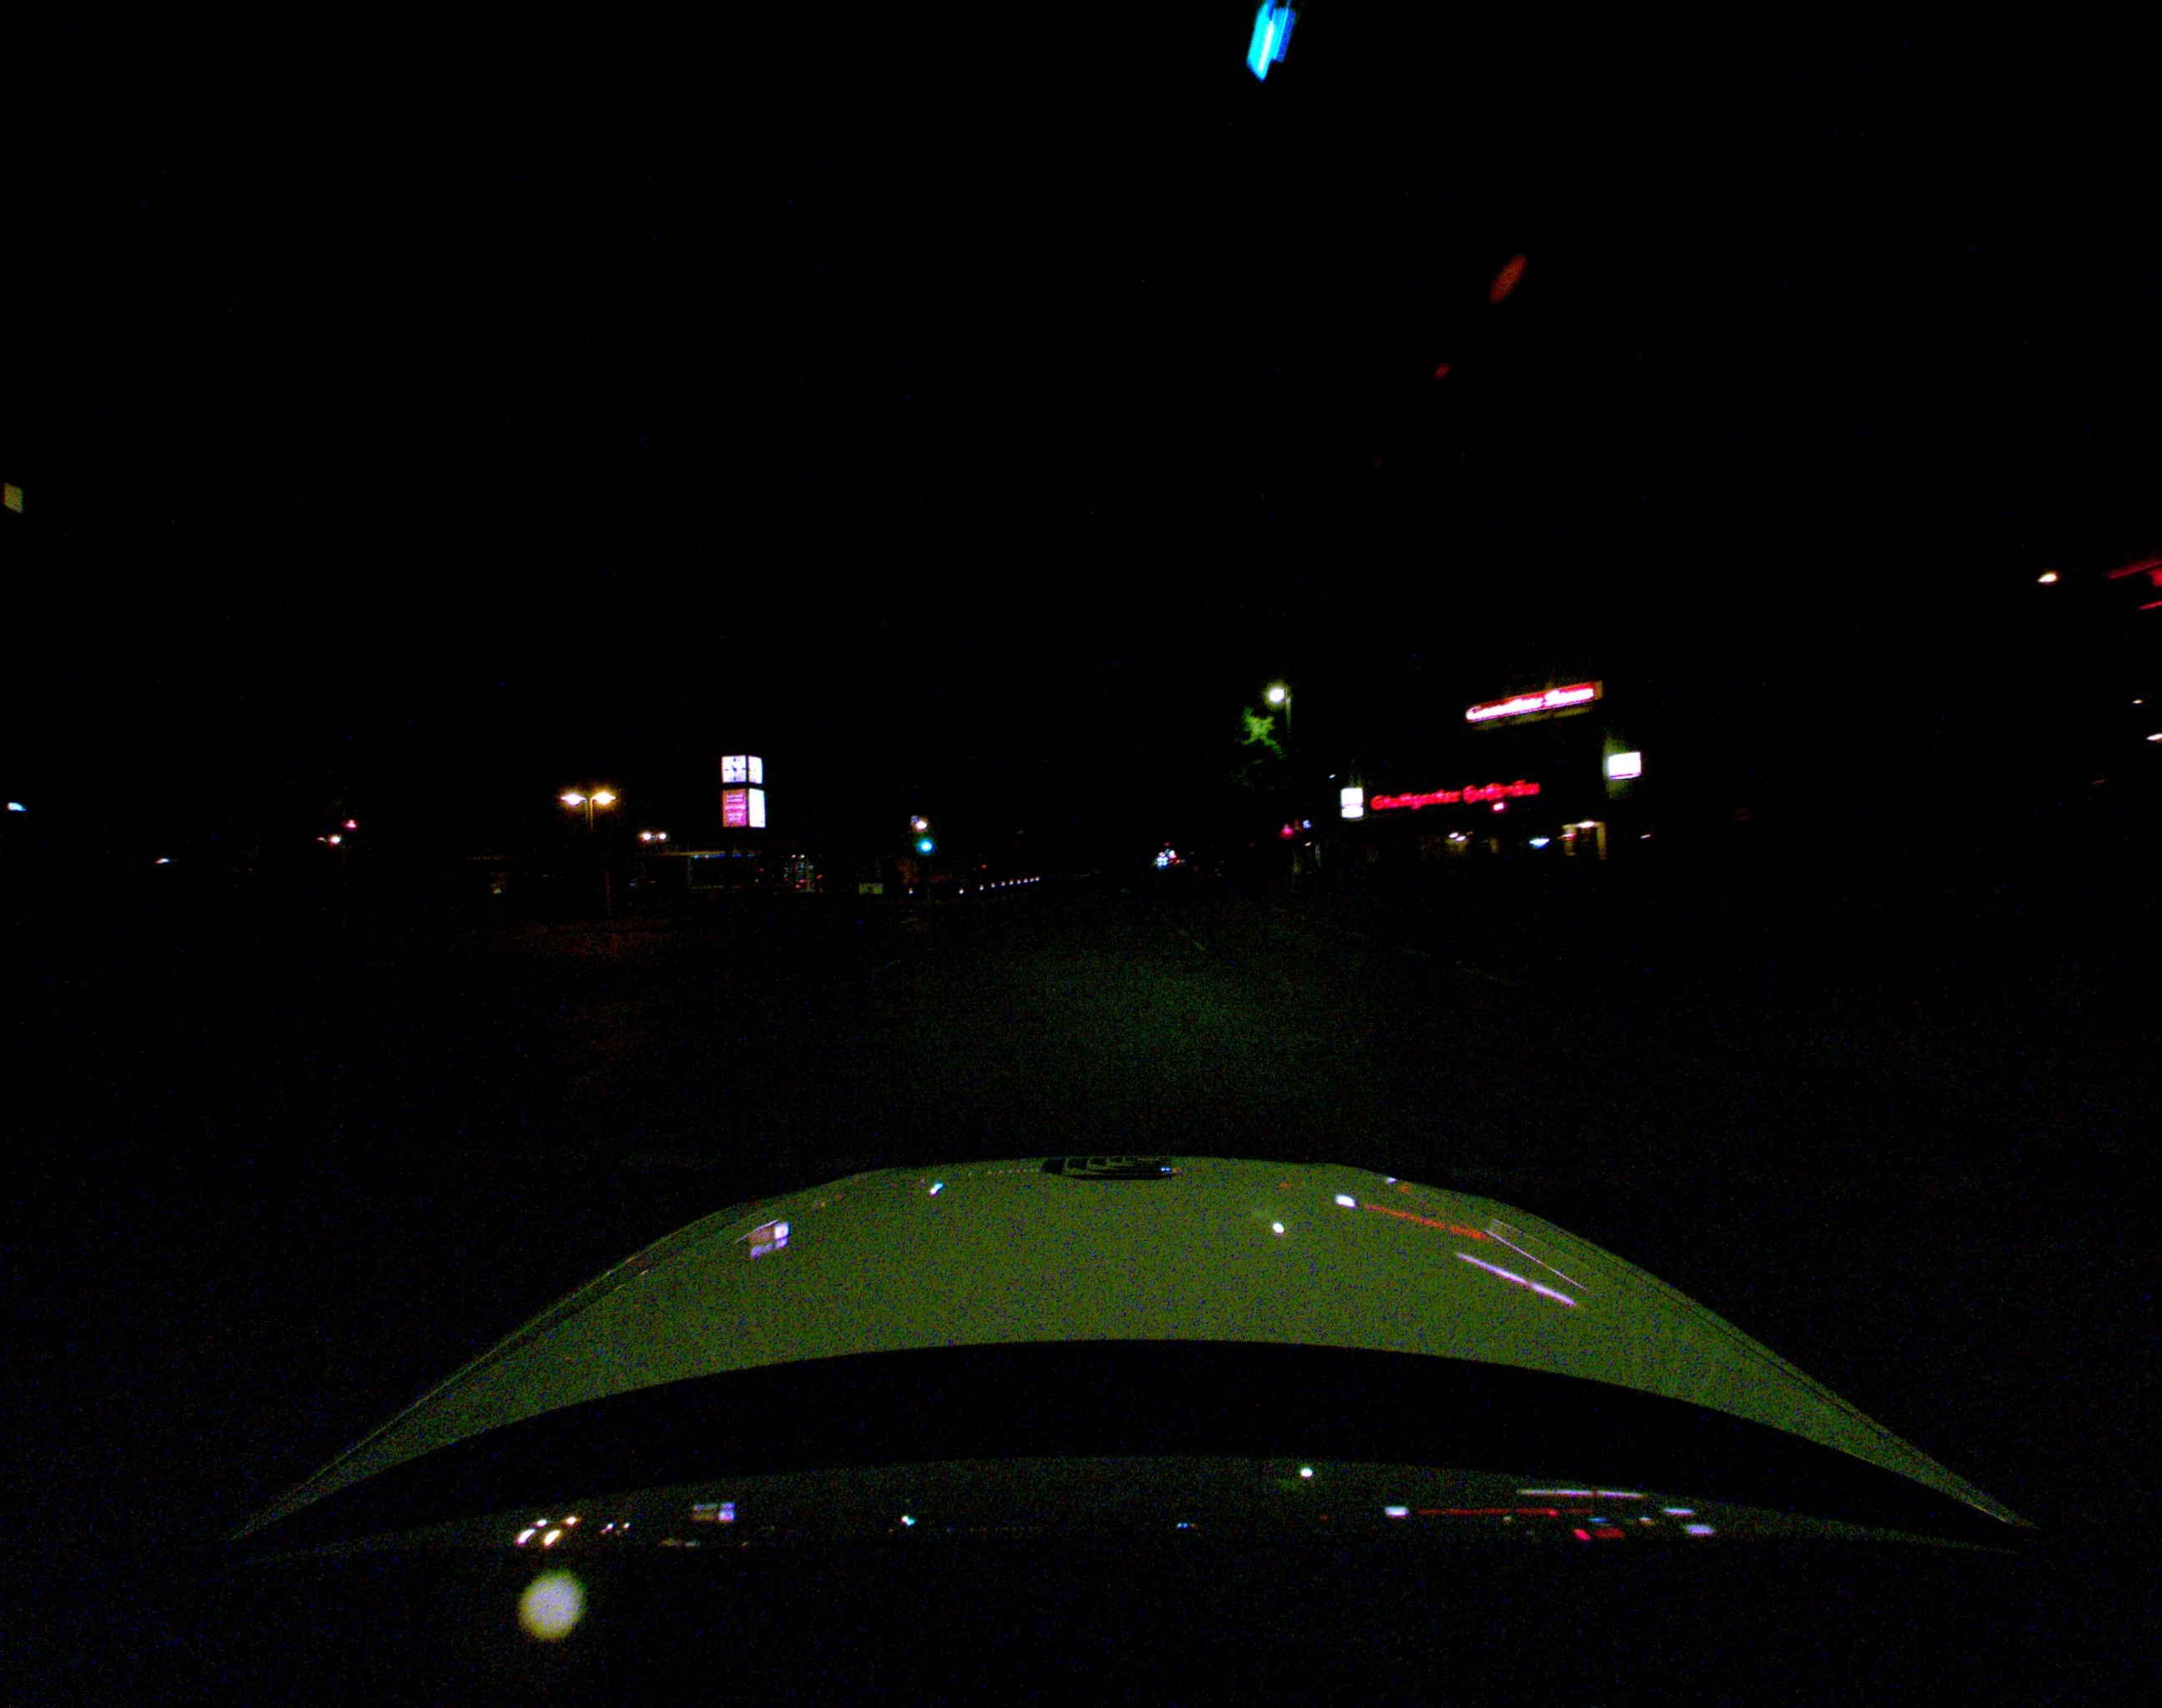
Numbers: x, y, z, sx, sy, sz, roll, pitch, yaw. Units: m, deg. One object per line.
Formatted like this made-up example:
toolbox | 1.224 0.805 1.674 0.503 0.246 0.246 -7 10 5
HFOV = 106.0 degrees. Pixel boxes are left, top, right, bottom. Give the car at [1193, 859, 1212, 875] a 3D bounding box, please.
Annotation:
car | 13.317 1.439 89.614 1.866 1.684 4.007 -2 -1 7

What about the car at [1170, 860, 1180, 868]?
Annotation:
car | 18.092 1.995 157.477 1.864 1.454 4.324 0 -1 6

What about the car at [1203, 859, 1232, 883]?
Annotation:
car | 9.883 1.203 59.043 1.866 1.615 4.007 -2 -1 7

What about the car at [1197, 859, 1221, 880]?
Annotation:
car | 11.239 1.339 71.686 1.866 1.729 4.007 -2 -1 7

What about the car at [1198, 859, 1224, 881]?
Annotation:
car | 10.204 1.242 64.056 1.866 1.615 4.007 -2 -1 7
